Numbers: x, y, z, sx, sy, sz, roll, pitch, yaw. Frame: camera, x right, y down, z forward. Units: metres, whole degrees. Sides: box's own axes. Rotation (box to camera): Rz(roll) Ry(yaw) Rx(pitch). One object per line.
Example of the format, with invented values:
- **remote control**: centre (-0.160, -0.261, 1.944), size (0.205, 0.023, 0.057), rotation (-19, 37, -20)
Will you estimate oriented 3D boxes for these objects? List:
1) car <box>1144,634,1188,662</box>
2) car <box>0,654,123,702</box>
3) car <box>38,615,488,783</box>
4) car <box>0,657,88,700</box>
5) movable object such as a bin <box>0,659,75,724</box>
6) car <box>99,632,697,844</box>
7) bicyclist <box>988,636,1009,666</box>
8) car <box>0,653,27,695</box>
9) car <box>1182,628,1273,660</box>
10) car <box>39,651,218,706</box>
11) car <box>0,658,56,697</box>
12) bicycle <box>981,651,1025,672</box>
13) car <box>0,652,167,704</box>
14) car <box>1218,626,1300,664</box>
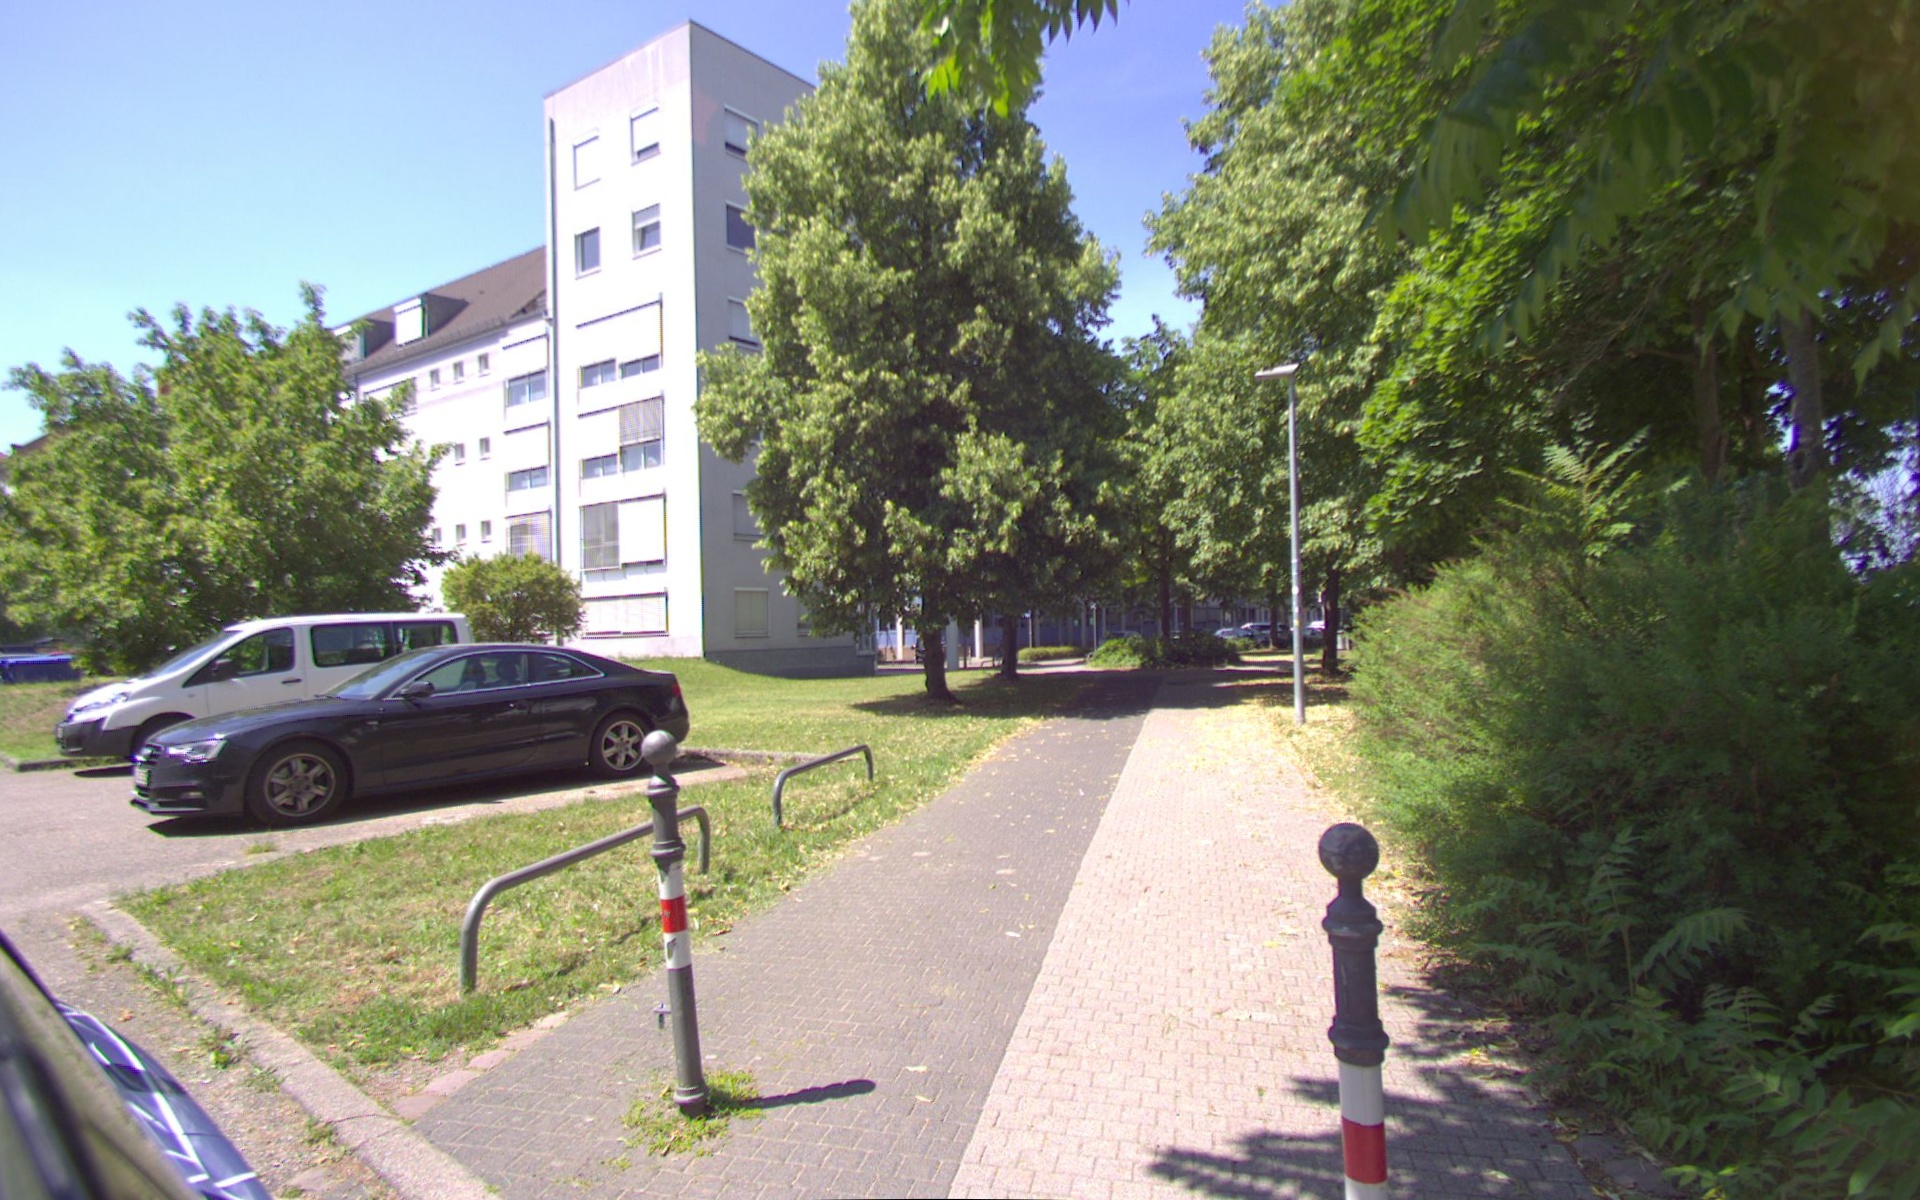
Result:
- **car**: centre (12.767, 2.969, 62.573), size (1.798, 1.615, 3.861), rotation (-2, -2, 25)
- **car**: centre (-33.419, 2.816, 36.931), size (1.609, 1.581, 4.175), rotation (-2, -2, 34)
- **car**: centre (-9.408, 1.185, 14.003), size (2.067, 1.898, 4.795), rotation (-3, -2, 42)
- **car**: centre (-38.430, 3.197, 41.230), size (1.609, 1.581, 4.175), rotation (-2, -2, 34)
- **movable object such as a bin**: centre (-21.542, 2.108, 23.565), size (1.094, 1.399, 1.255), rotation (-3, -2, 40)
- **car**: centre (-4.883, 1.070, 9.281), size (2.023, 1.391, 4.382), rotation (-6, -4, 42)
- **bicyclist**: centre (1.385, 1.832, 36.398), size (0.518, 1.053, 0.515), rotation (-7, -6, 42)
- **car**: centre (-43.771, 3.280, 44.173), size (2.005, 1.837, 4.175), rotation (-2, -2, 34)
- **car**: centre (14.494, 2.392, 54.911), size (4.335, 1.622, 1.909), rotation (-2, -2, 38)
- **car**: centre (-27.934, 2.592, 34.145), size (1.609, 1.581, 4.394), rotation (-2, -2, 34)
- **car**: centre (-41.143, 3.314, 42.741), size (1.609, 1.581, 4.175), rotation (-2, -2, 34)
- **bicycle**: centre (1.571, 2.227, 36.576), size (0.734, 0.646, 1.594), rotation (-6, -5, 41)
- **car**: centre (-30.490, 2.676, 35.296), size (1.609, 1.581, 4.175), rotation (-2, -2, 34)
- **car**: centre (17.000, 2.568, 57.670), size (3.994, 2.029, 1.974), rotation (-2, -2, 38)
